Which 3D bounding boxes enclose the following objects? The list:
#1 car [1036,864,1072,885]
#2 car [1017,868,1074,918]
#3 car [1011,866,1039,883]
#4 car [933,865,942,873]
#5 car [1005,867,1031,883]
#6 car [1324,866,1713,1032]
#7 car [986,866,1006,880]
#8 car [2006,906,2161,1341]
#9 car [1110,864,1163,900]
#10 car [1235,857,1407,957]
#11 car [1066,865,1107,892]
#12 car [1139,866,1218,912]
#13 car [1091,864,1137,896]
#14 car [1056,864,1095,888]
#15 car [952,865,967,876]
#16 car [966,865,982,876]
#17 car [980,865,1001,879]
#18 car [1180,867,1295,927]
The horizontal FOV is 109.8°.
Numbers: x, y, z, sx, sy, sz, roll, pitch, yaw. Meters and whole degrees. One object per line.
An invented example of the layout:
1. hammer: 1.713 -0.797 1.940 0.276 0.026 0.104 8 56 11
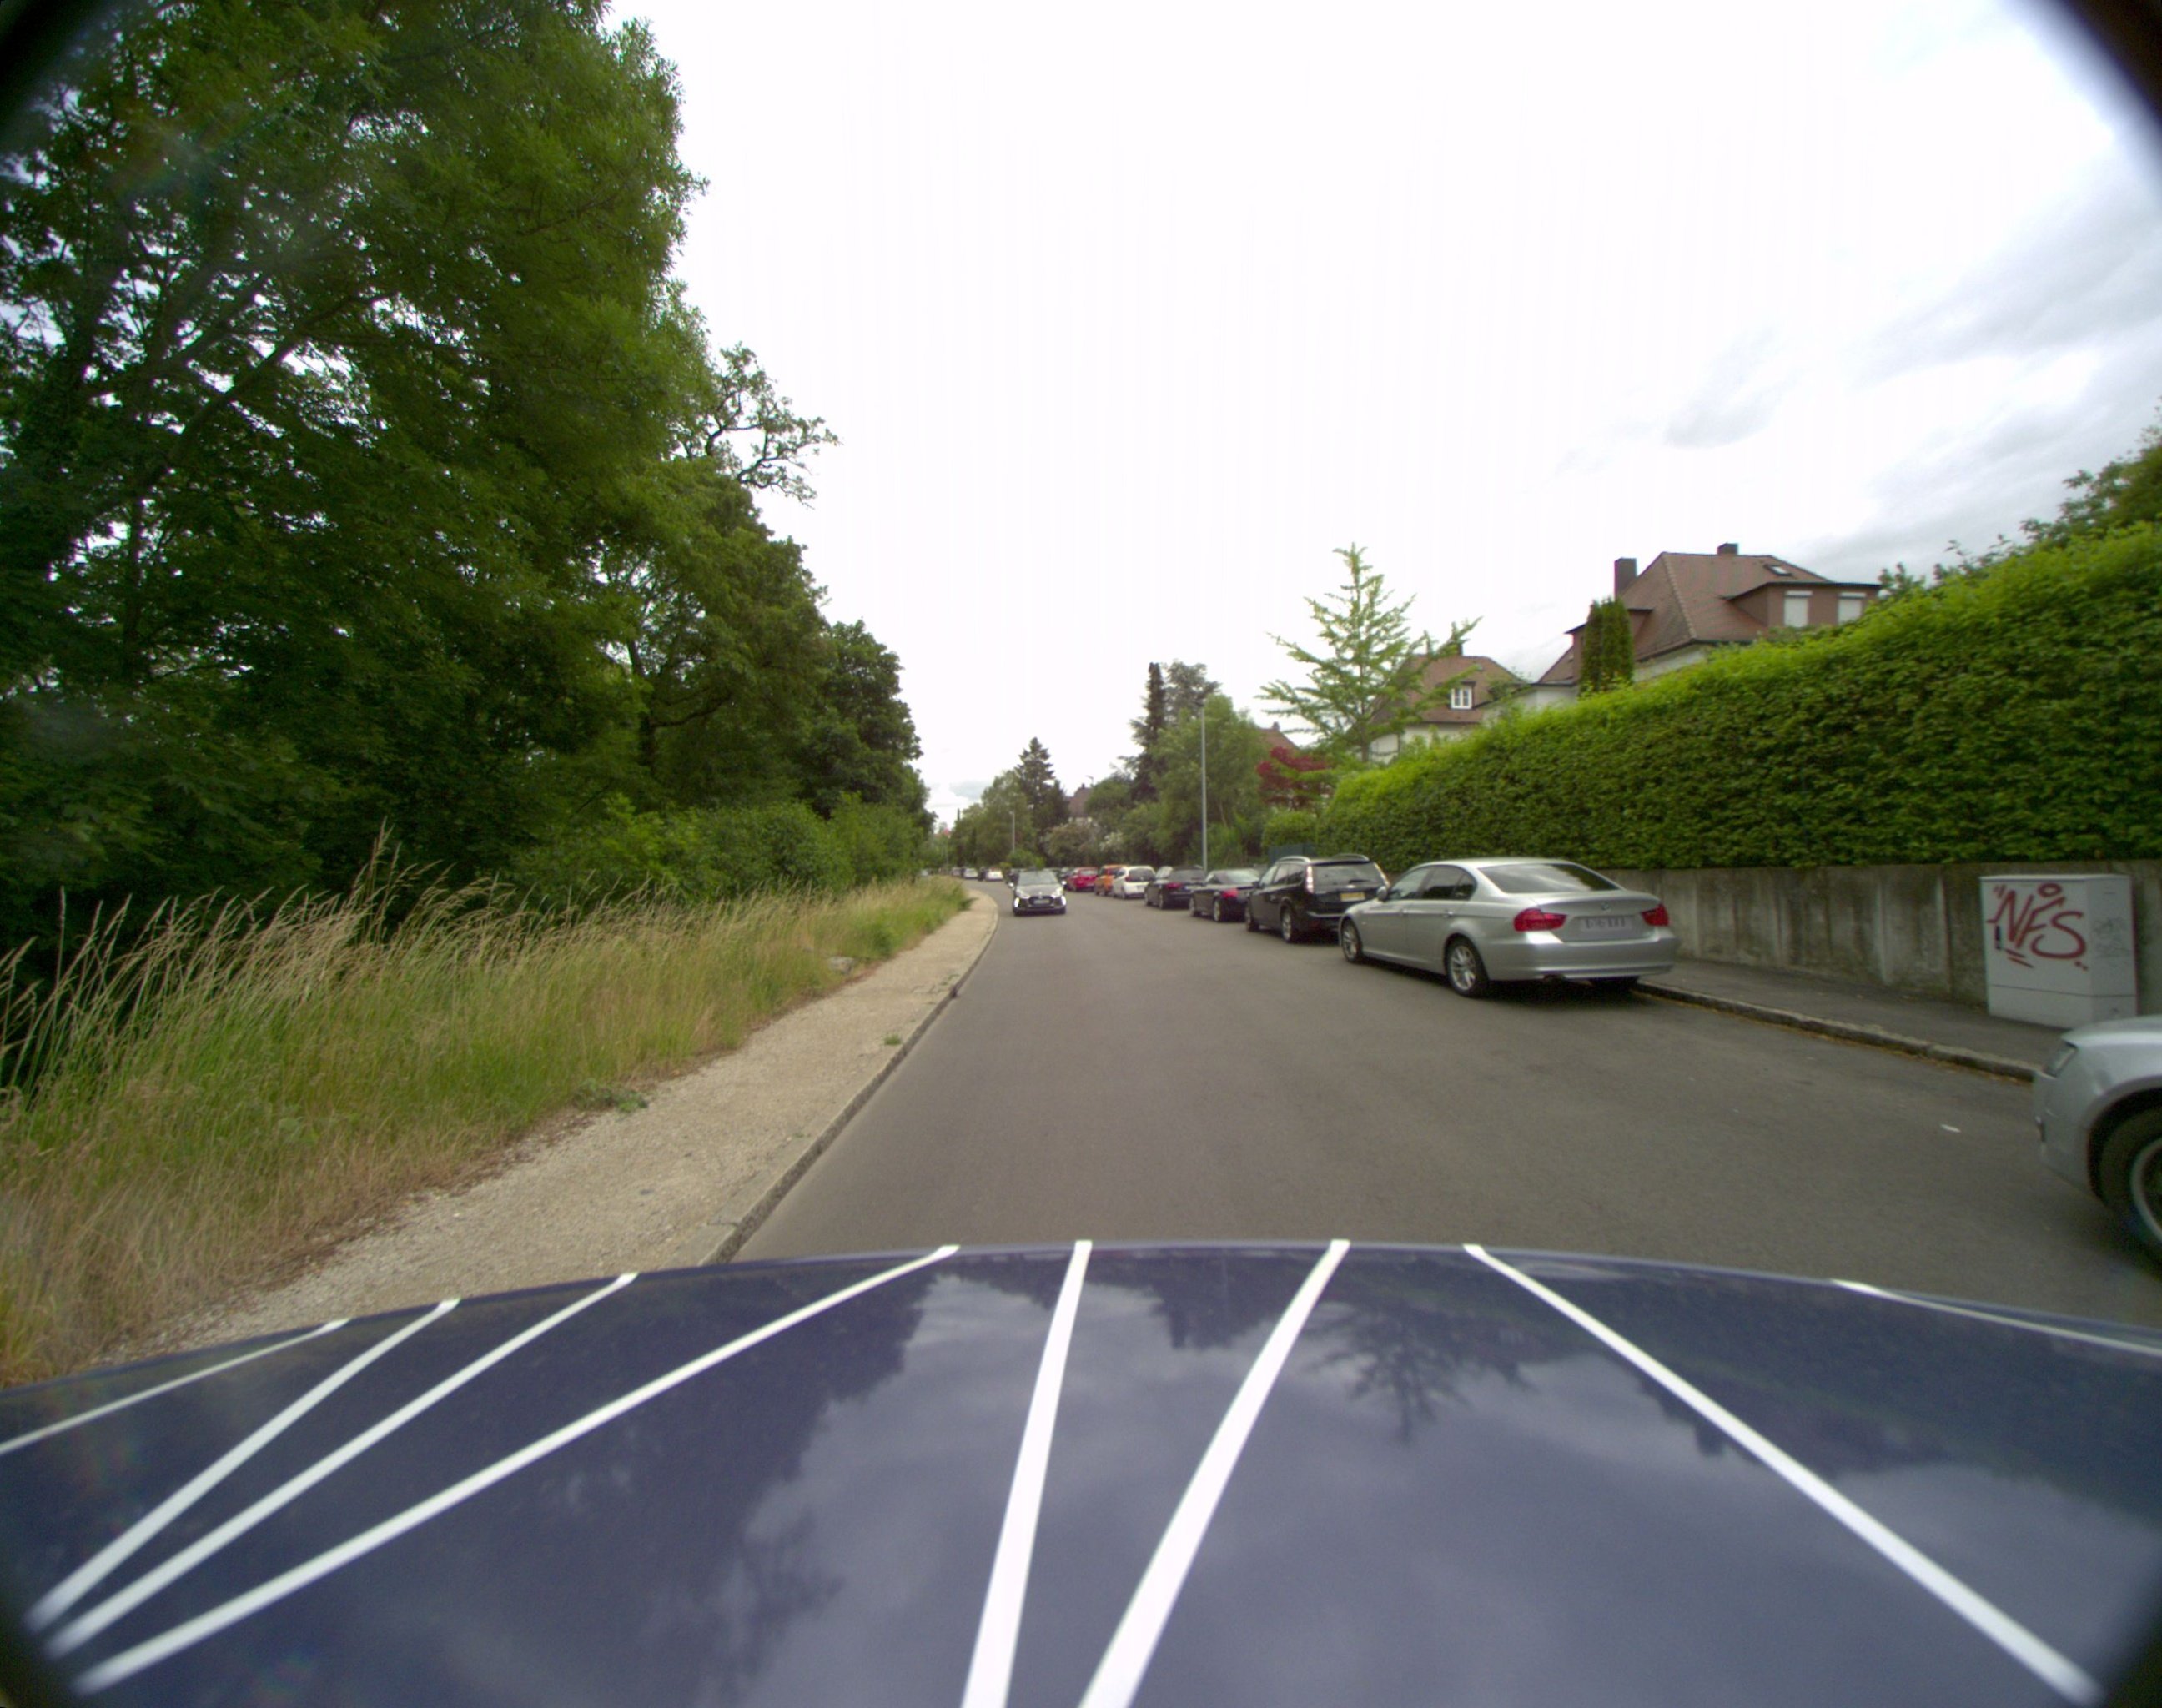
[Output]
1. car: -2.053 1.499 56.478 1.713 1.401 4.155 -2 0 -15
2. car: -1.295 1.257 25.954 1.712 1.466 4.193 -2 0 -5
3. car: -5.074 1.819 68.109 1.713 1.408 4.127 -2 0 -15
4. car: -32.929 3.494 174.277 1.924 1.670 4.190 -2 0 -14
5. car: -6.050 1.949 72.651 1.713 1.408 4.144 -2 0 -15
6. car: 4.580 0.865 8.887 1.780 1.365 4.339 -2 0 -4
7. car: -9.722 2.108 86.928 1.713 1.502 3.941 -2 0 -15
8. car: 4.375 0.846 0.610 1.836 1.365 4.445 -2 0 0
9. car: 2.449 1.208 34.209 1.593 1.505 3.588 -2 0 -8
10. car: 4.322 0.869 14.448 1.661 1.524 4.473 -2 0 -2
11. car: 0.277 1.422 46.191 1.712 1.505 4.360 -2 0 -10
12. car: 3.278 1.150 26.433 1.723 1.376 4.661 -2 0 -5
13. car: 1.657 1.301 38.953 1.549 1.505 3.641 -2 0 -10
14. car: -0.445 1.455 50.923 1.713 1.505 4.491 -2 0 -12
15. car: -19.884 2.689 124.437 1.802 1.597 4.724 -2 0 -15
16. car: -14.984 2.272 106.374 1.713 1.502 4.549 -2 0 -13
17. car: -10.907 2.124 91.271 1.798 1.654 4.386 -2 0 -15
18. car: 4.000 1.055 20.114 1.716 1.333 4.105 -2 0 -7
